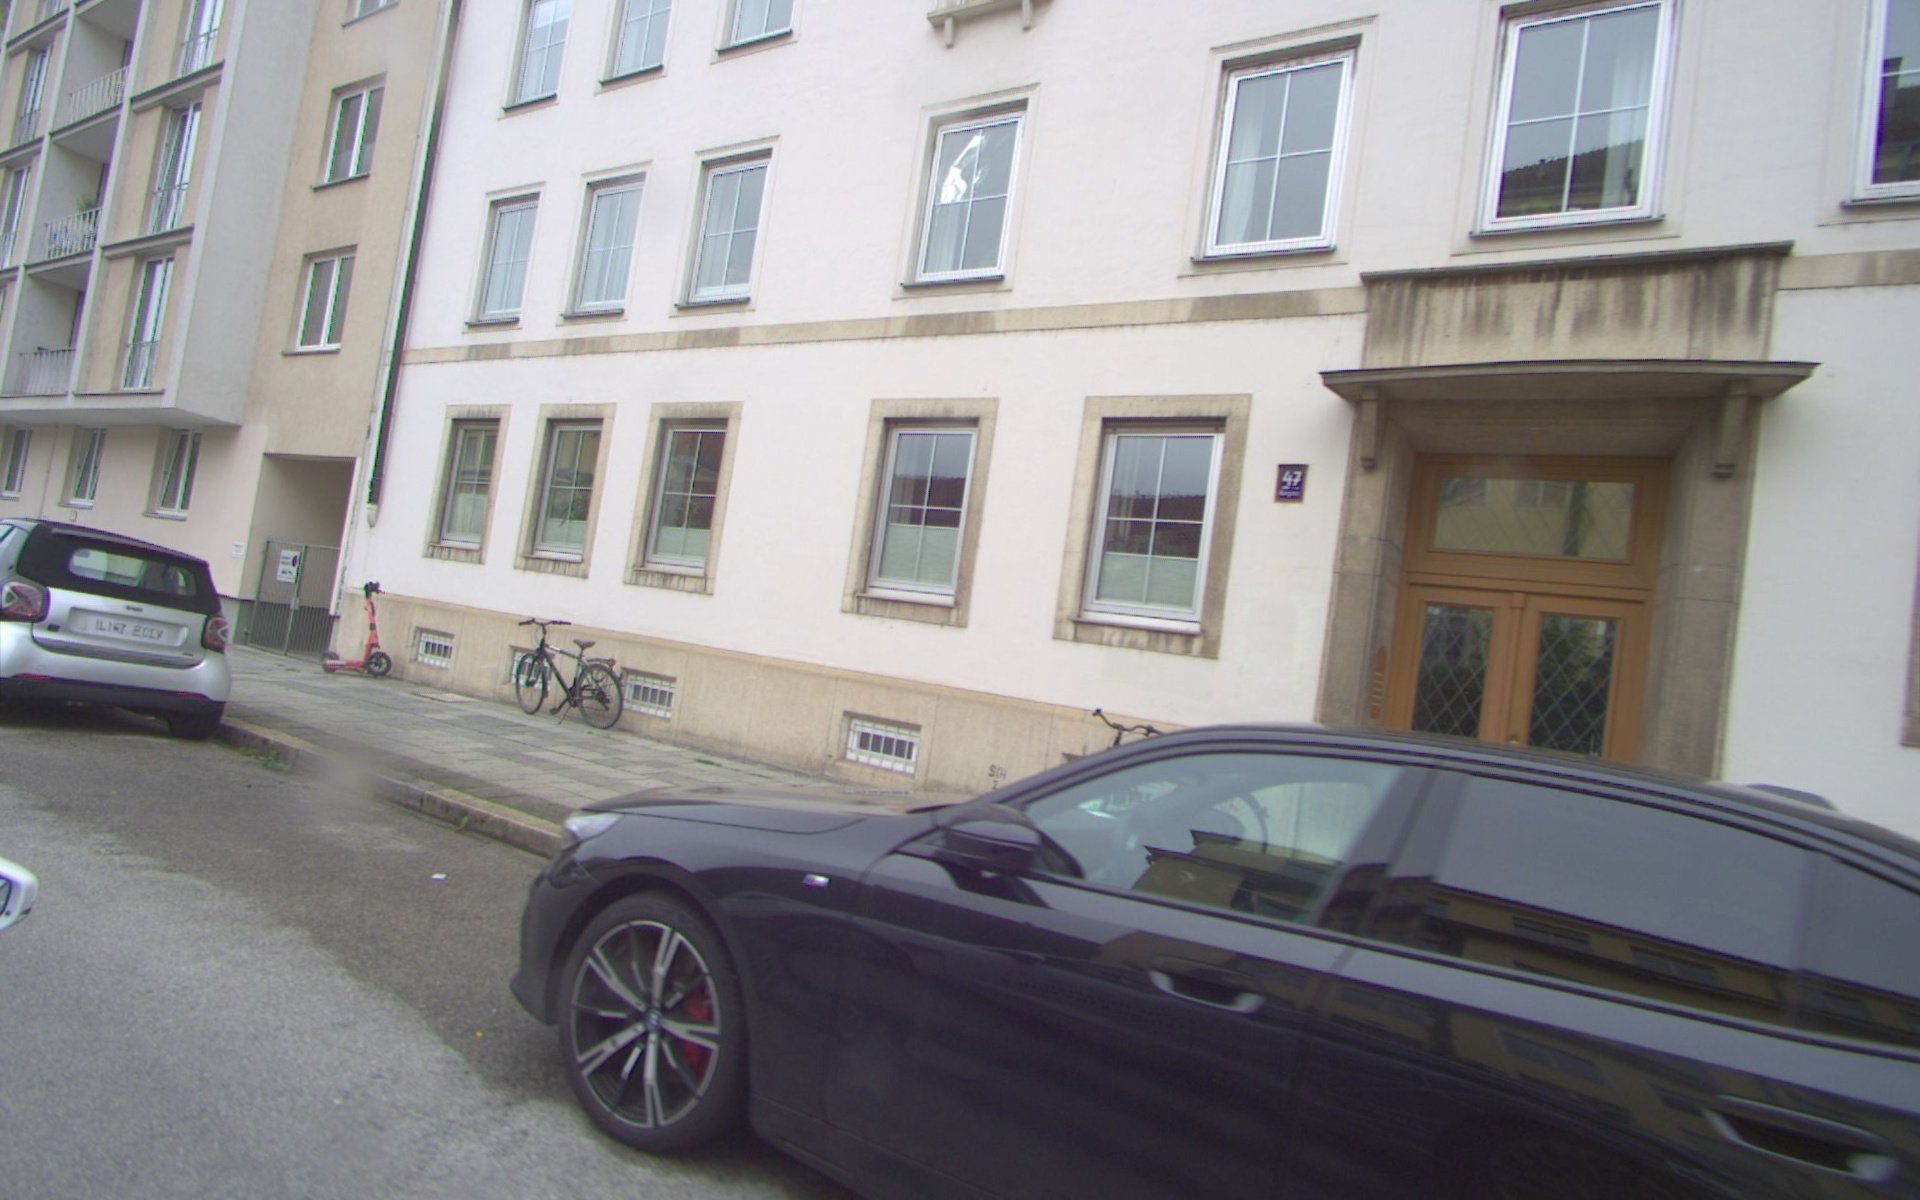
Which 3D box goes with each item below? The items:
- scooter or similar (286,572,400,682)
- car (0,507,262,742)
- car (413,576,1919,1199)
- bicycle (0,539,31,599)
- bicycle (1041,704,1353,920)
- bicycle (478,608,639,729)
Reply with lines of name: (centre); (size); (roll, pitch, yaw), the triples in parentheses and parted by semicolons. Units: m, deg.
scooter or similar: (-8.216, 0.359, 13.408); (1.077, 1.289, 0.731); (7, -3, 31)
car: (-7.801, 0.108, 8.592); (3.324, 1.530, 1.622); (7, -7, 32)
car: (0.842, 1.022, 2.820); (4.620, 1.462, 1.880); (7, -5, 30)
bicycle: (-20.350, -0.697, 21.258); (1.574, 1.170, 0.515); (6, -2, 30)
bicycle: (1.672, 1.448, 7.264); (2.005, 1.093, 0.598); (7, 0, 30)
bicycle: (-4.553, 0.752, 11.368); (1.806, 1.105, 0.630); (7, 0, 31)
